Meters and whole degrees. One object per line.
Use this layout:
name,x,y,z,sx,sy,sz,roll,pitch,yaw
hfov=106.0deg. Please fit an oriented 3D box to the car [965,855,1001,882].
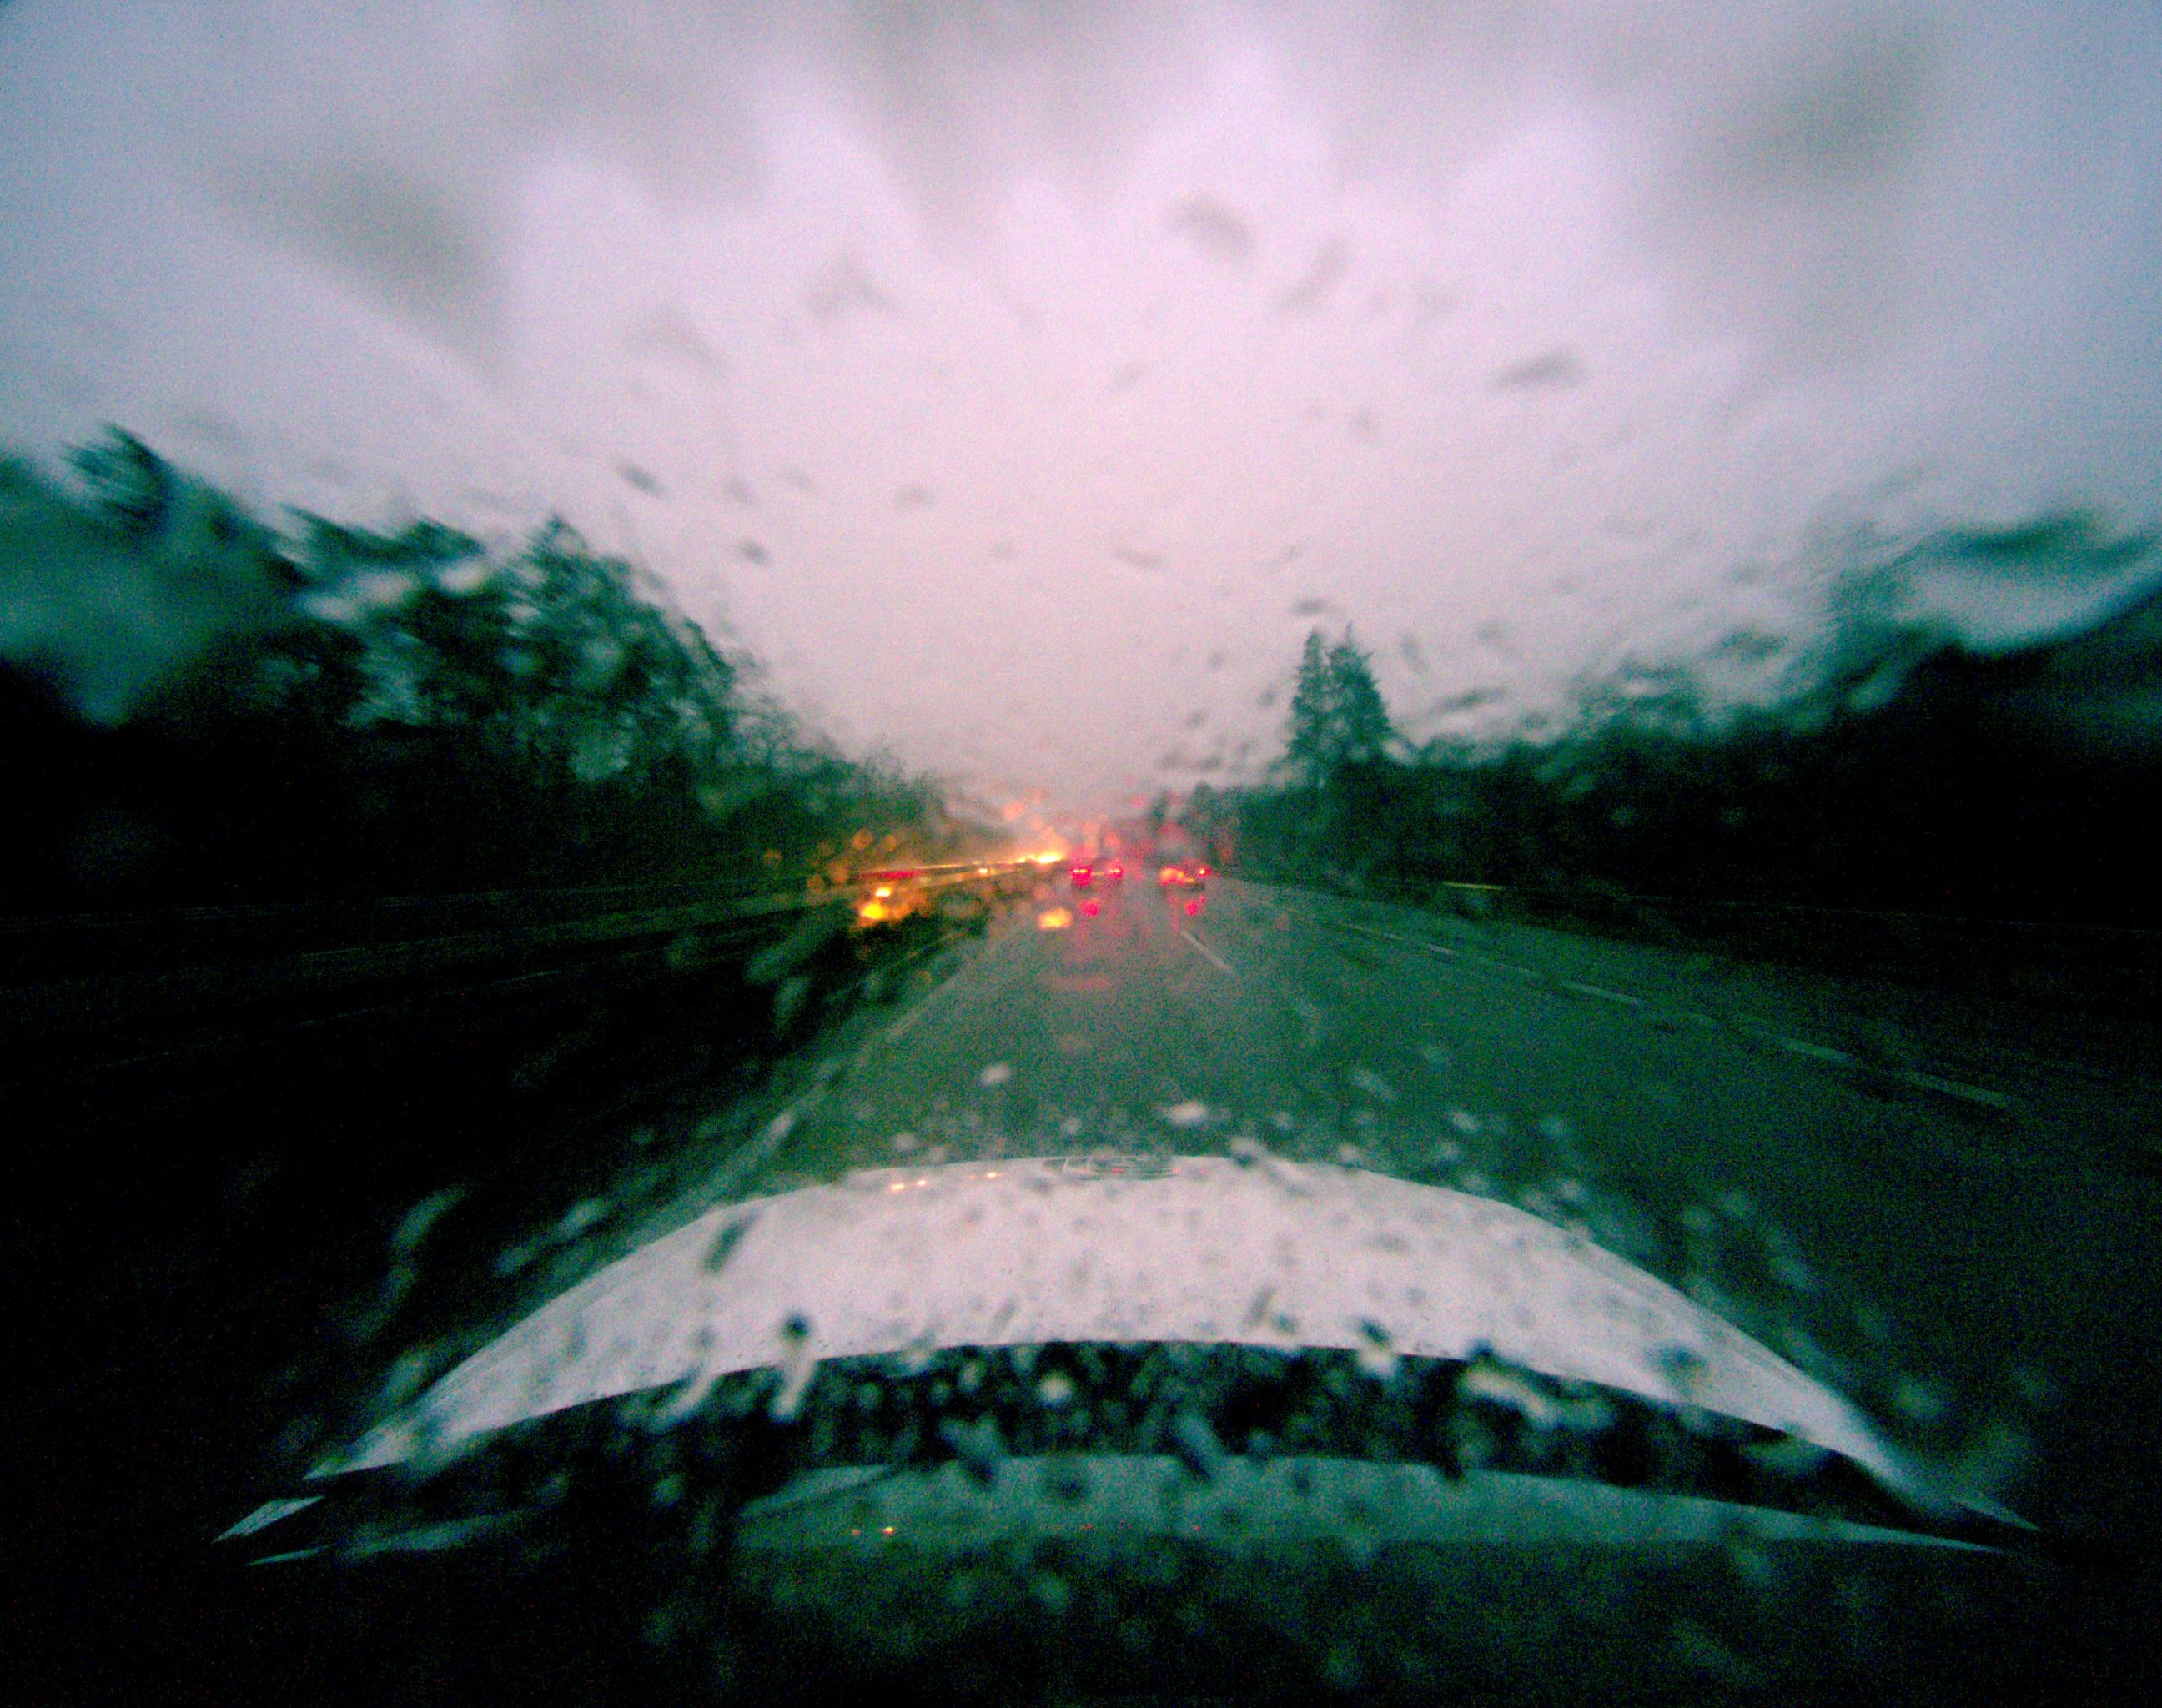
car,-6.248,0.903,52.118,1.716,1.607,3.516,-1,0,2

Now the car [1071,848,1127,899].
car,0.683,0.683,30.869,1.979,1.767,4.174,-1,0,1

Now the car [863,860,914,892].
car,-11.506,1.259,48.921,1.976,1.807,4.002,-1,0,2

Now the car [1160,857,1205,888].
car,4.846,0.855,39.246,1.774,1.437,3.537,-1,0,0
